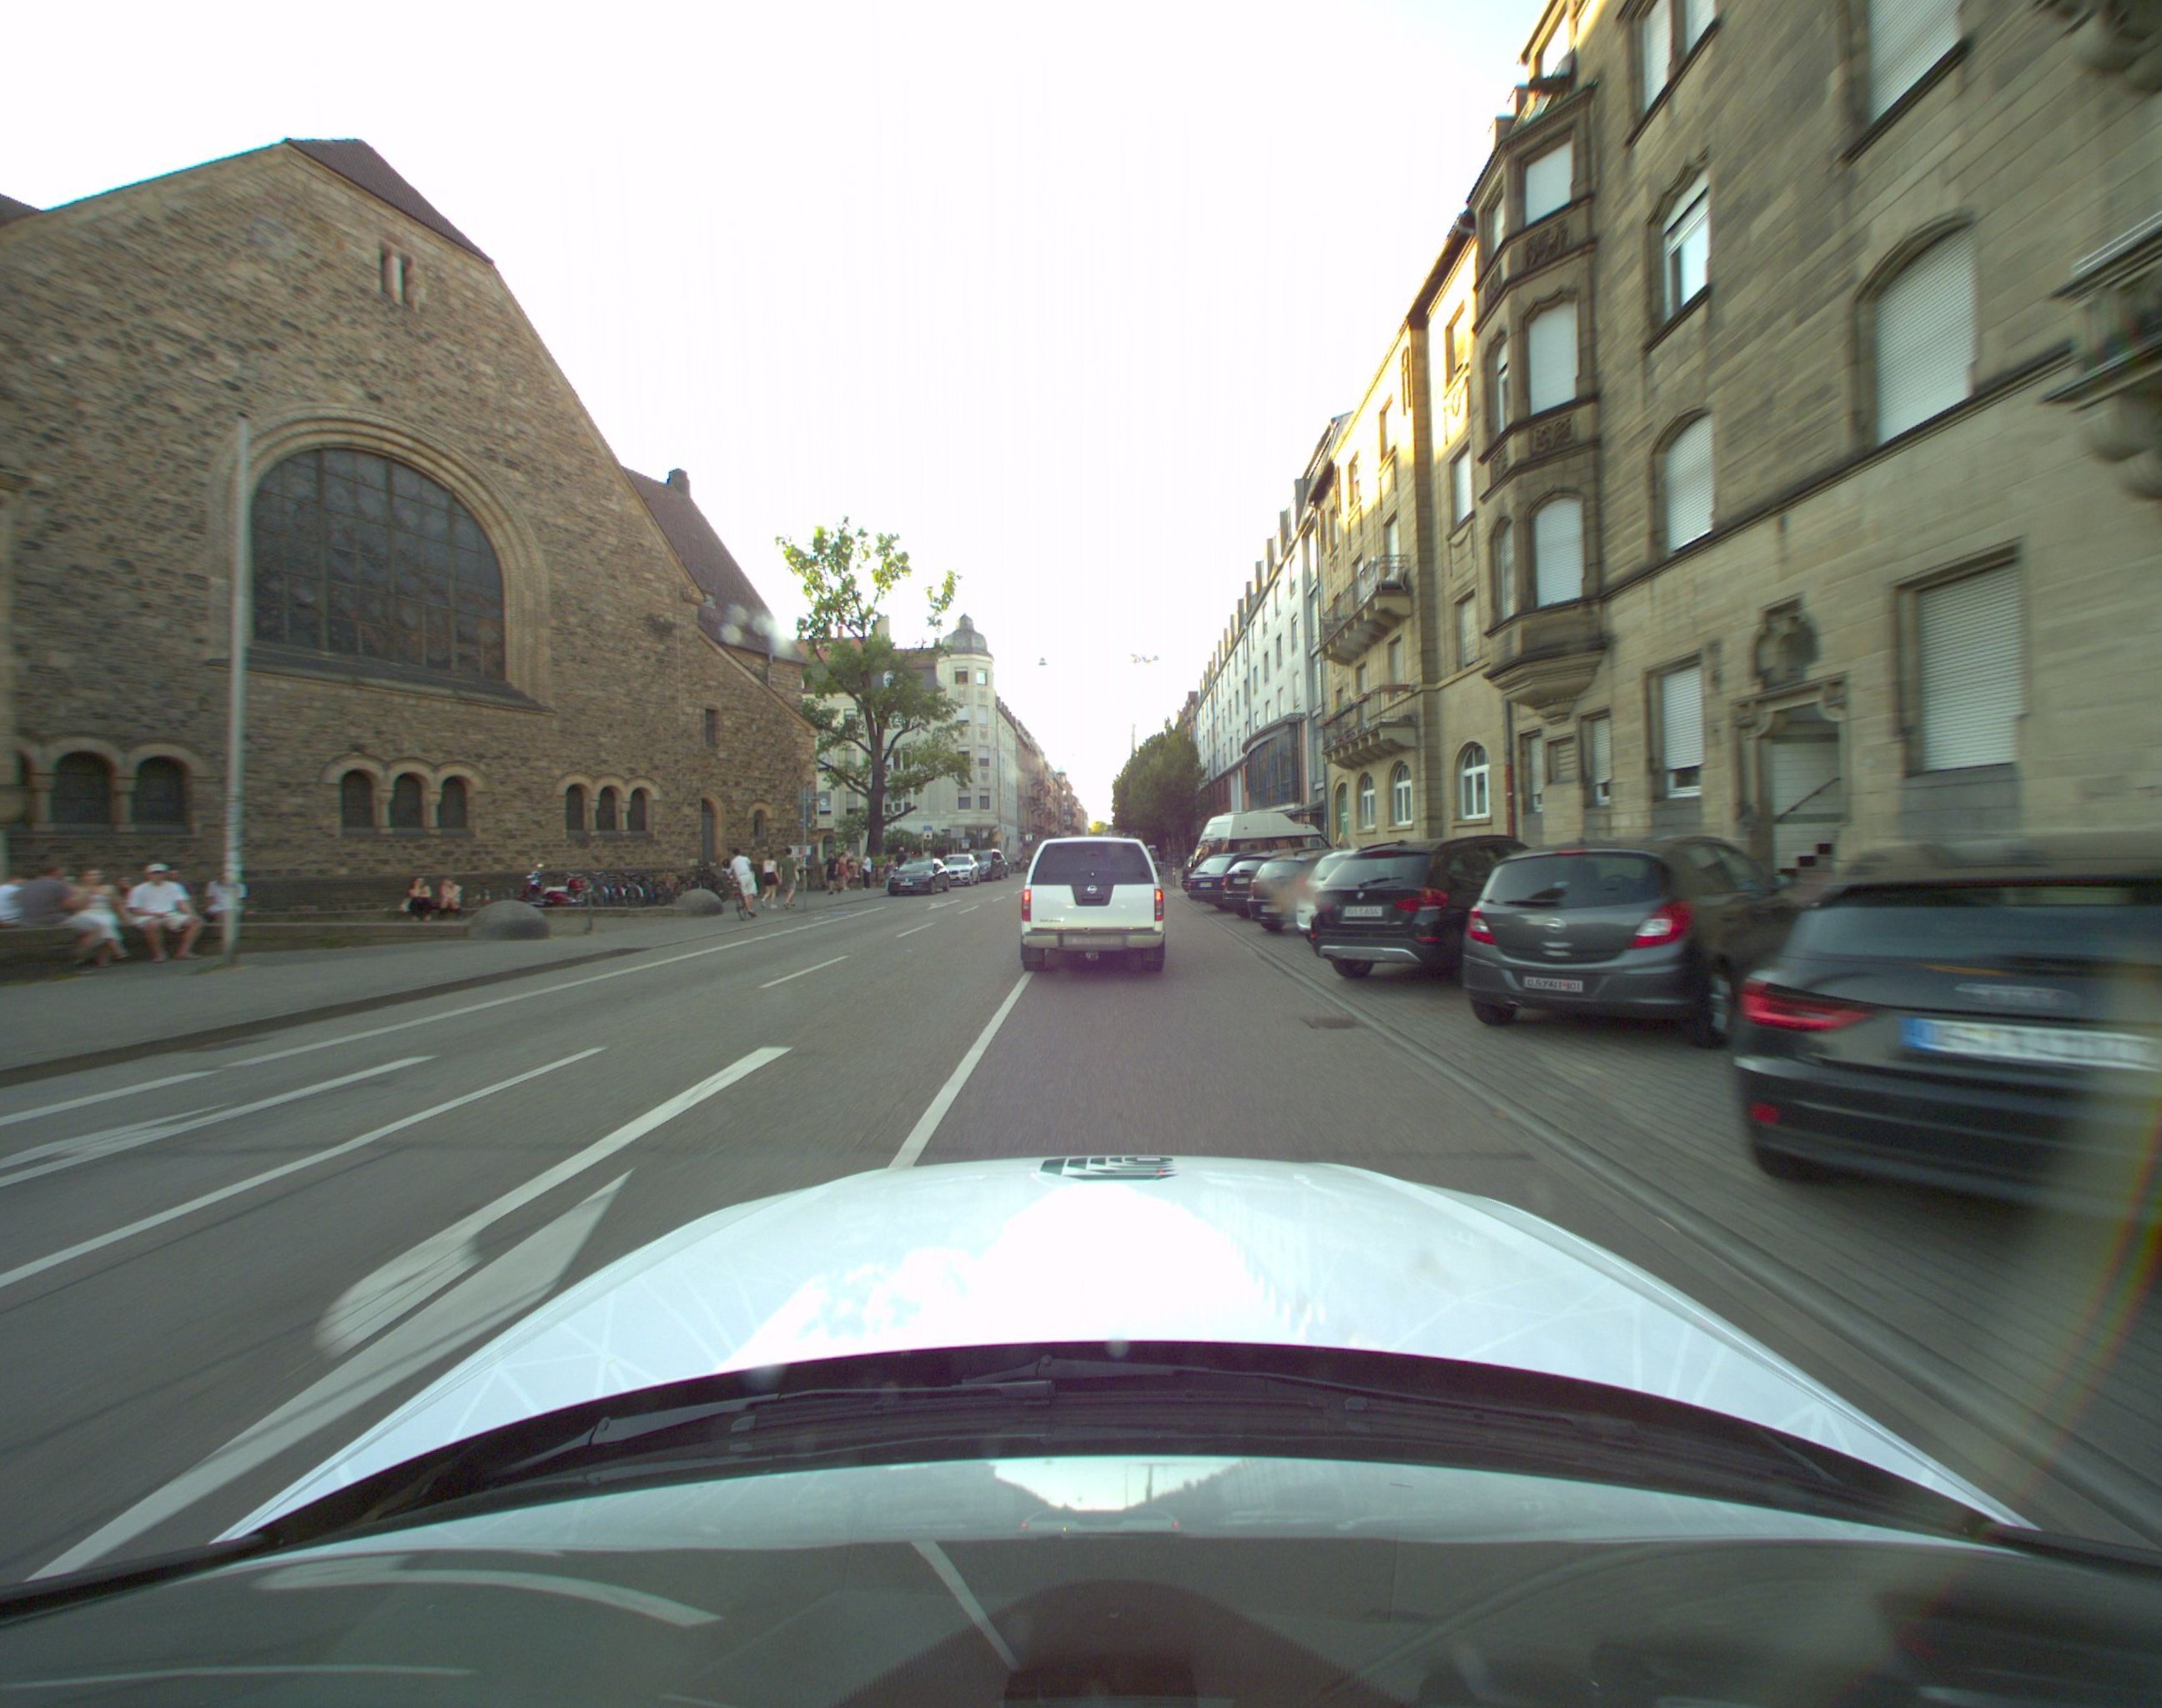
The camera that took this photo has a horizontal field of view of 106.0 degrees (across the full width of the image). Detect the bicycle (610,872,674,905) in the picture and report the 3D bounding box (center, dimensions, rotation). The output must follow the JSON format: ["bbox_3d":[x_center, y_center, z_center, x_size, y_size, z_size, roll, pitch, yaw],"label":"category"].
[{"bbox_3d":[-13.696,1.085,25.392,1.968,0.989,0.468,-2,0,17],"label":"bicycle"}]

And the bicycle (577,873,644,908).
[{"bbox_3d":[-14.100,1.099,24.404,1.986,0.989,0.468,-2,0,17],"label":"bicycle"}]

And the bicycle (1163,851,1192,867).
[{"bbox_3d":[8.632,0.428,72.583,2.523,1.379,0.600,-2,0,4],"label":"bicycle"}]

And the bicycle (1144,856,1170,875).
[{"bbox_3d":[4.669,0.697,50.198,1.534,1.038,0.472,-3,0,0],"label":"bicycle"}]

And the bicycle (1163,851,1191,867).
[{"bbox_3d":[8.635,0.431,73.298,2.523,1.379,0.600,-2,0,4],"label":"bicycle"}]

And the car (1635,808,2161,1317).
[{"bbox_3d":[4.506,0.579,3.909,3.936,1.446,1.853,-4,-1,-38],"label":"car"}]

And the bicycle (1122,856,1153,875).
[{"bbox_3d":[3.505,0.710,50.824,1.851,1.038,0.472,-3,0,0],"label":"bicycle"}]

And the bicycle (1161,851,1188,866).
[{"bbox_3d":[8.951,0.417,78.293,2.523,1.379,0.600,-2,0,4],"label":"bicycle"}]

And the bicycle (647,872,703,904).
[{"bbox_3d":[-13.099,1.086,26.269,1.864,0.989,0.372,-2,0,16],"label":"bicycle"}]

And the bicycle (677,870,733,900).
[{"bbox_3d":[-12.675,1.046,27.443,1.864,0.989,0.443,-2,0,17],"label":"bicycle"}]

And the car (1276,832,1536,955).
[{"bbox_3d":[5.188,0.542,12.845,4.074,1.498,1.736,-4,0,-34],"label":"car"}]

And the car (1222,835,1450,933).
[{"bbox_3d":[4.853,0.511,15.372,4.050,1.431,1.849,-4,0,-32],"label":"car"}]

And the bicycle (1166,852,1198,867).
[{"bbox_3d":[8.385,0.443,67.697,2.523,1.166,0.563,-2,0,4],"label":"bicycle"}]

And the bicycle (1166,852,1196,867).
[{"bbox_3d":[8.535,0.471,69.578,2.523,1.166,0.563,-2,0,4],"label":"bicycle"}]

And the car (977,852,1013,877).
[{"bbox_3d":[-5.669,0.688,54.094,1.633,1.555,4.009,-1,0,4],"label":"car"}]

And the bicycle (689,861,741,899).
[{"bbox_3d":[-12.534,0.906,27.901,1.715,1.248,0.439,-2,0,16],"label":"bicycle"}]

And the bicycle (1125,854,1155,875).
[{"bbox_3d":[3.607,0.642,49.715,1.702,1.176,0.472,-3,0,0],"label":"bicycle"}]

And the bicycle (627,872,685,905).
[{"bbox_3d":[-13.483,1.091,25.814,1.864,0.989,0.372,-2,0,17],"label":"bicycle"}]

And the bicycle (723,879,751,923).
[{"bbox_3d":[-8.897,1.179,21.114,0.553,1.012,2.174,0,0,-19],"label":"bicycle"}]

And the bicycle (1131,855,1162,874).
[{"bbox_3d":[4.151,0.665,51.460,1.851,1.038,0.402,-3,0,0],"label":"bicycle"}]

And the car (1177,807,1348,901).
[{"bbox_3d":[5.367,-0.037,23.960,4.736,2.547,1.901,-1,-1,-27],"label":"car"}]

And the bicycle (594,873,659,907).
[{"bbox_3d":[-13.893,1.095,24.876,1.986,0.989,0.468,-2,0,17],"label":"bicycle"}]

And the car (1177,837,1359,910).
[{"bbox_3d":[4.858,0.472,21.041,4.411,1.486,1.827,-4,0,-29],"label":"car"}]

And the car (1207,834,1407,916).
[{"bbox_3d":[5.090,0.457,18.305,4.130,1.546,1.779,-3,-2,-26],"label":"car"}]

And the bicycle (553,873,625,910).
[{"bbox_3d":[-14.376,1.080,23.788,1.986,0.989,0.588,1,1,17],"label":"bicycle"}]

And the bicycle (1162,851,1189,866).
[{"bbox_3d":[8.821,0.408,76.110,2.523,1.379,0.600,-2,0,4],"label":"bicycle"}]

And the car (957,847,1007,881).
[{"bbox_3d":[-5.864,0.572,48.964,1.985,1.866,5.295,-1,0,4],"label":"car"}]

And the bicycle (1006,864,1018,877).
[{"bbox_3d":[-5.799,1.350,68.785,0.420,1.012,1.726,-1,1,16],"label":"bicycle"}]

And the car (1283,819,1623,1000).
[{"bbox_3d":[4.506,0.510,9.655,4.117,1.607,1.796,-4,0,-36],"label":"car"}]

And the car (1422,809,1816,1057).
[{"bbox_3d":[4.863,0.491,7.148,3.936,1.544,1.697,-3,-1,-39],"label":"car"}]

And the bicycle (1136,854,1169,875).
[{"bbox_3d":[4.314,0.633,49.016,1.852,1.146,0.659,-5,0,1],"label":"bicycle"}]

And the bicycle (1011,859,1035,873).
[{"bbox_3d":[-4.966,1.031,69.883,2.090,1.095,0.504,-1,1,27],"label":"bicycle"}]

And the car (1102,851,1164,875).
[{"bbox_3d":[3.685,0.643,57.570,4.009,1.506,1.755,-2,0,-27],"label":"car"}]
